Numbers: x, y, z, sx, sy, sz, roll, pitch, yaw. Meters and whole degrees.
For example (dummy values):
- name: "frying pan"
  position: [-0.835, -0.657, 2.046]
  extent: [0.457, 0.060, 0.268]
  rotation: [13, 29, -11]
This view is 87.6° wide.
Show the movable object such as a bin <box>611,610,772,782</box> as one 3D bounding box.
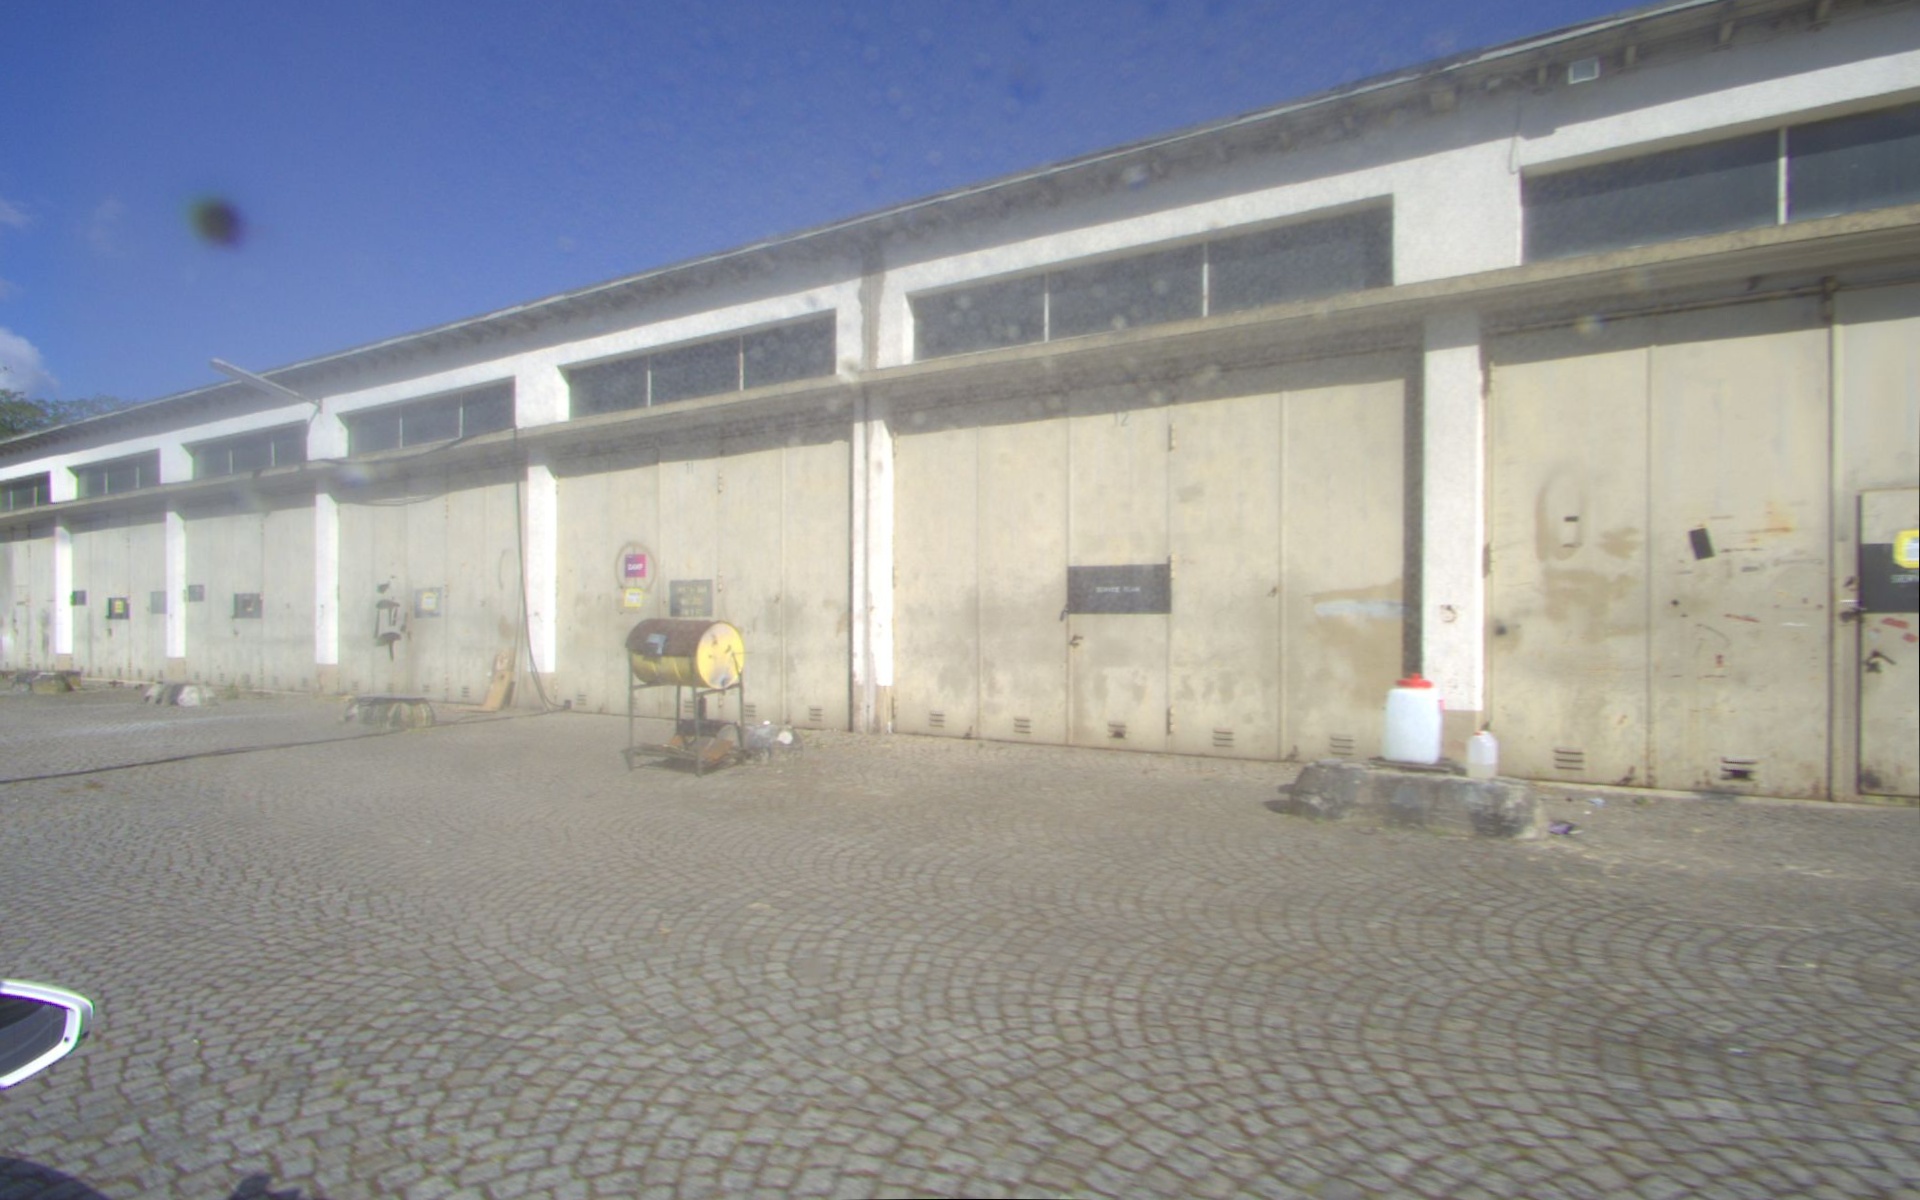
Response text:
- name: "movable object such as a bin"
  position: [-2.383, 0.808, 8.928]
  extent: [1.085, 1.419, 0.874]
  rotation: [0, -1, 30]
